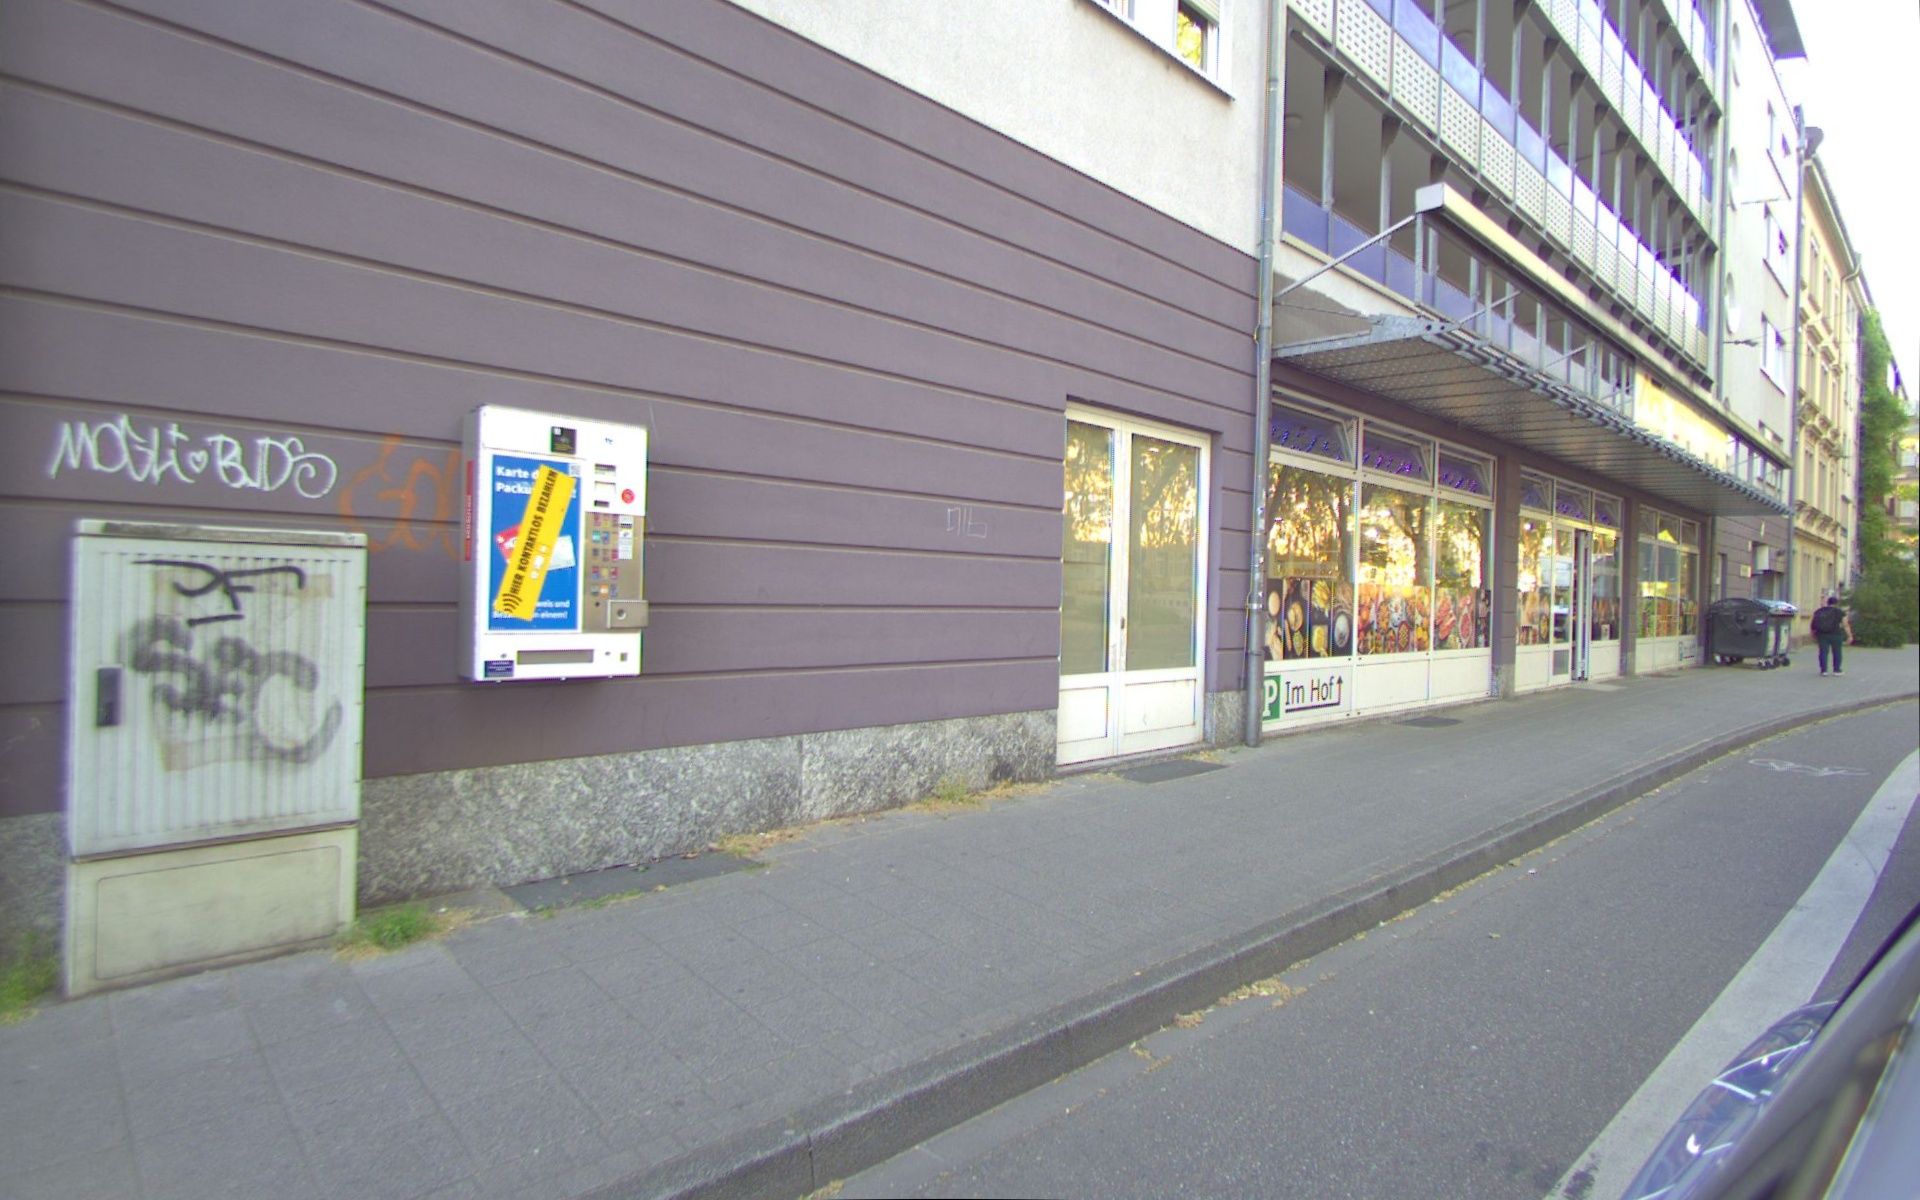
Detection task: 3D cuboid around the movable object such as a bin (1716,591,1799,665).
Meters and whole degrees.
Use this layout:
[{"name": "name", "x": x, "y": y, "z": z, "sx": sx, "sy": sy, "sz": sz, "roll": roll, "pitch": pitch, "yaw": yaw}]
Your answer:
[{"name": "movable object such as a bin", "x": 16.331, "y": 0.550, "z": 20.740, "sx": 0.923, "sy": 1.444, "sz": 1.158, "roll": 1, "pitch": 1, "yaw": -40}]

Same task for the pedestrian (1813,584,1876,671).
[{"name": "pedestrian", "x": 17.079, "y": 0.514, "z": 19.546, "sx": 0.862, "sy": 1.612, "sz": 0.613, "roll": 2, "pitch": 1, "yaw": 44}]

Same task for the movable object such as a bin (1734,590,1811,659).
[{"name": "movable object such as a bin", "x": 17.769, "y": 0.519, "z": 22.141, "sx": 0.923, "sy": 1.444, "sz": 1.158, "roll": 1, "pitch": 1, "yaw": -40}]
